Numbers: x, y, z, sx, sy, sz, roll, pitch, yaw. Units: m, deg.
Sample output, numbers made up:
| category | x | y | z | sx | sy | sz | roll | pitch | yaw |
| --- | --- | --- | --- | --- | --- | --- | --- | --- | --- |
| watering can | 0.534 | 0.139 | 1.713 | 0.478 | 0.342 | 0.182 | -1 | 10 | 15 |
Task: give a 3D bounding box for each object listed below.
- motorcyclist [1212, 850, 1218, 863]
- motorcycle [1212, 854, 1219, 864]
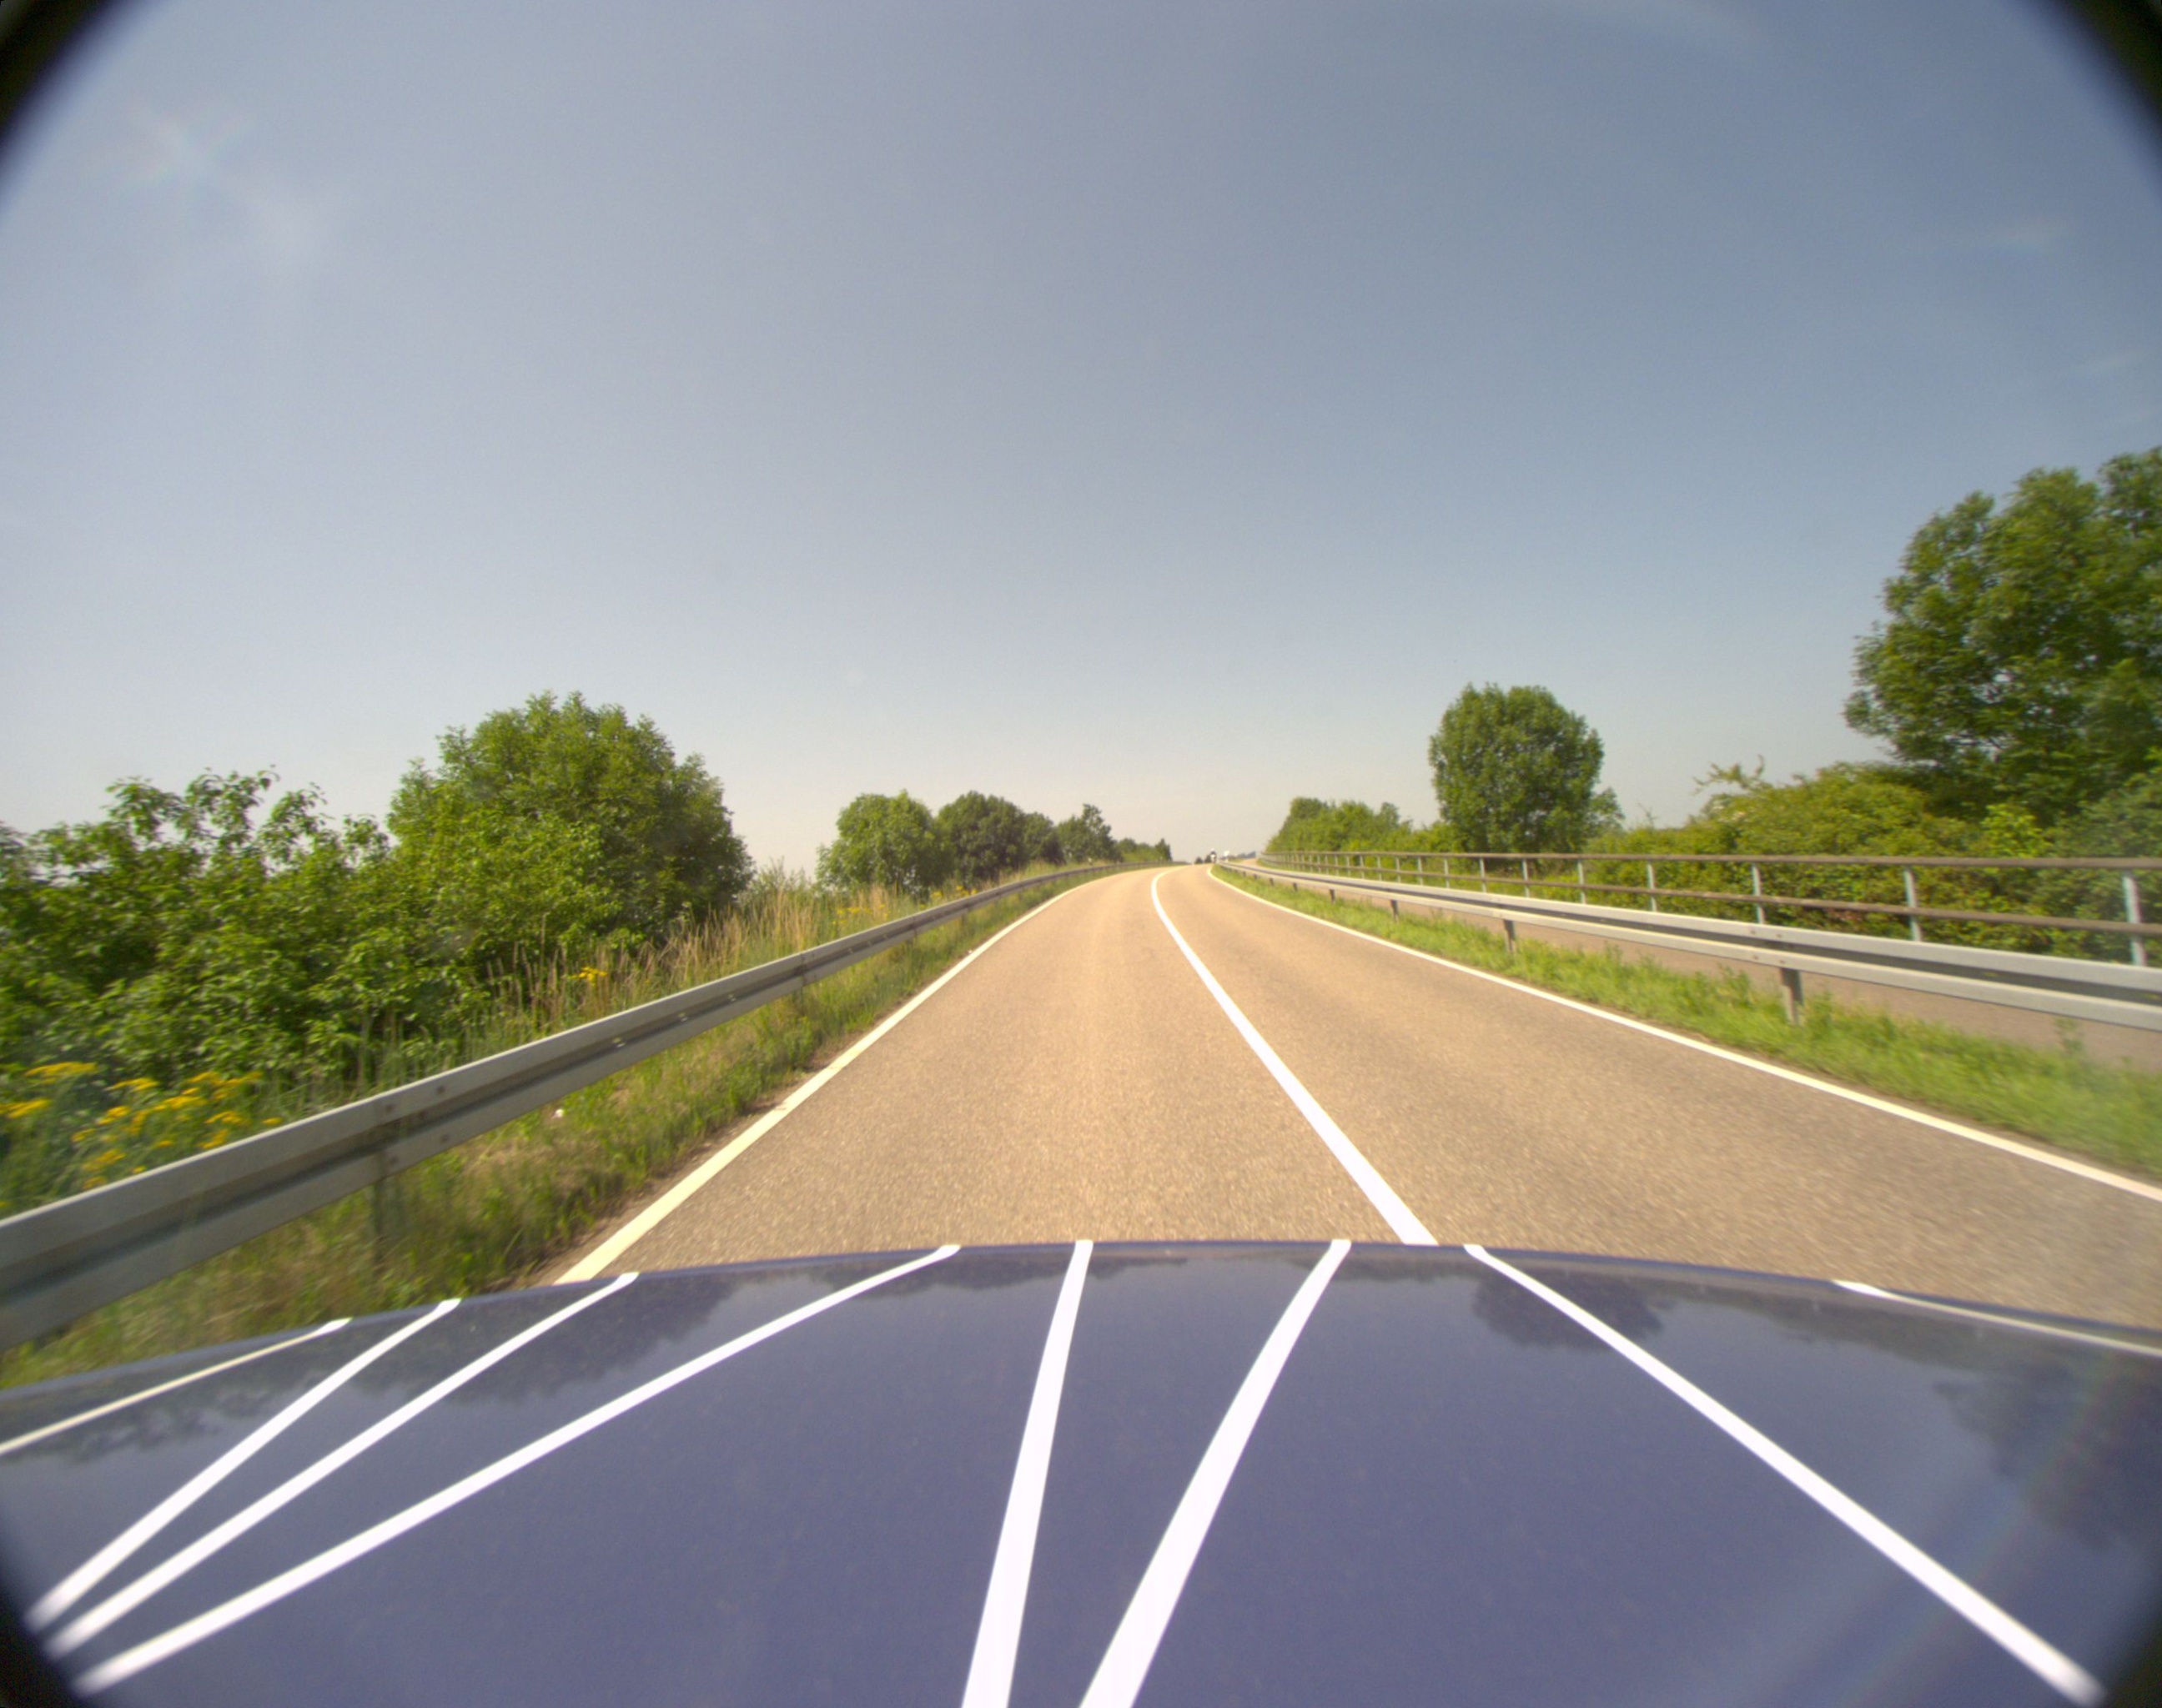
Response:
| category | x | y | z | sx | sy | sz | roll | pitch | yaw |
| --- | --- | --- | --- | --- | --- | --- | --- | --- | --- |
| motorcyclist | 16.151 | 0.274 | 91.309 | 0.655 | 1.553 | 0.776 | -2 | 1 | 12 |
| motorcycle | 16.178 | 0.615 | 91.328 | 0.644 | 1.216 | 1.640 | -2 | 0 | 13 |
